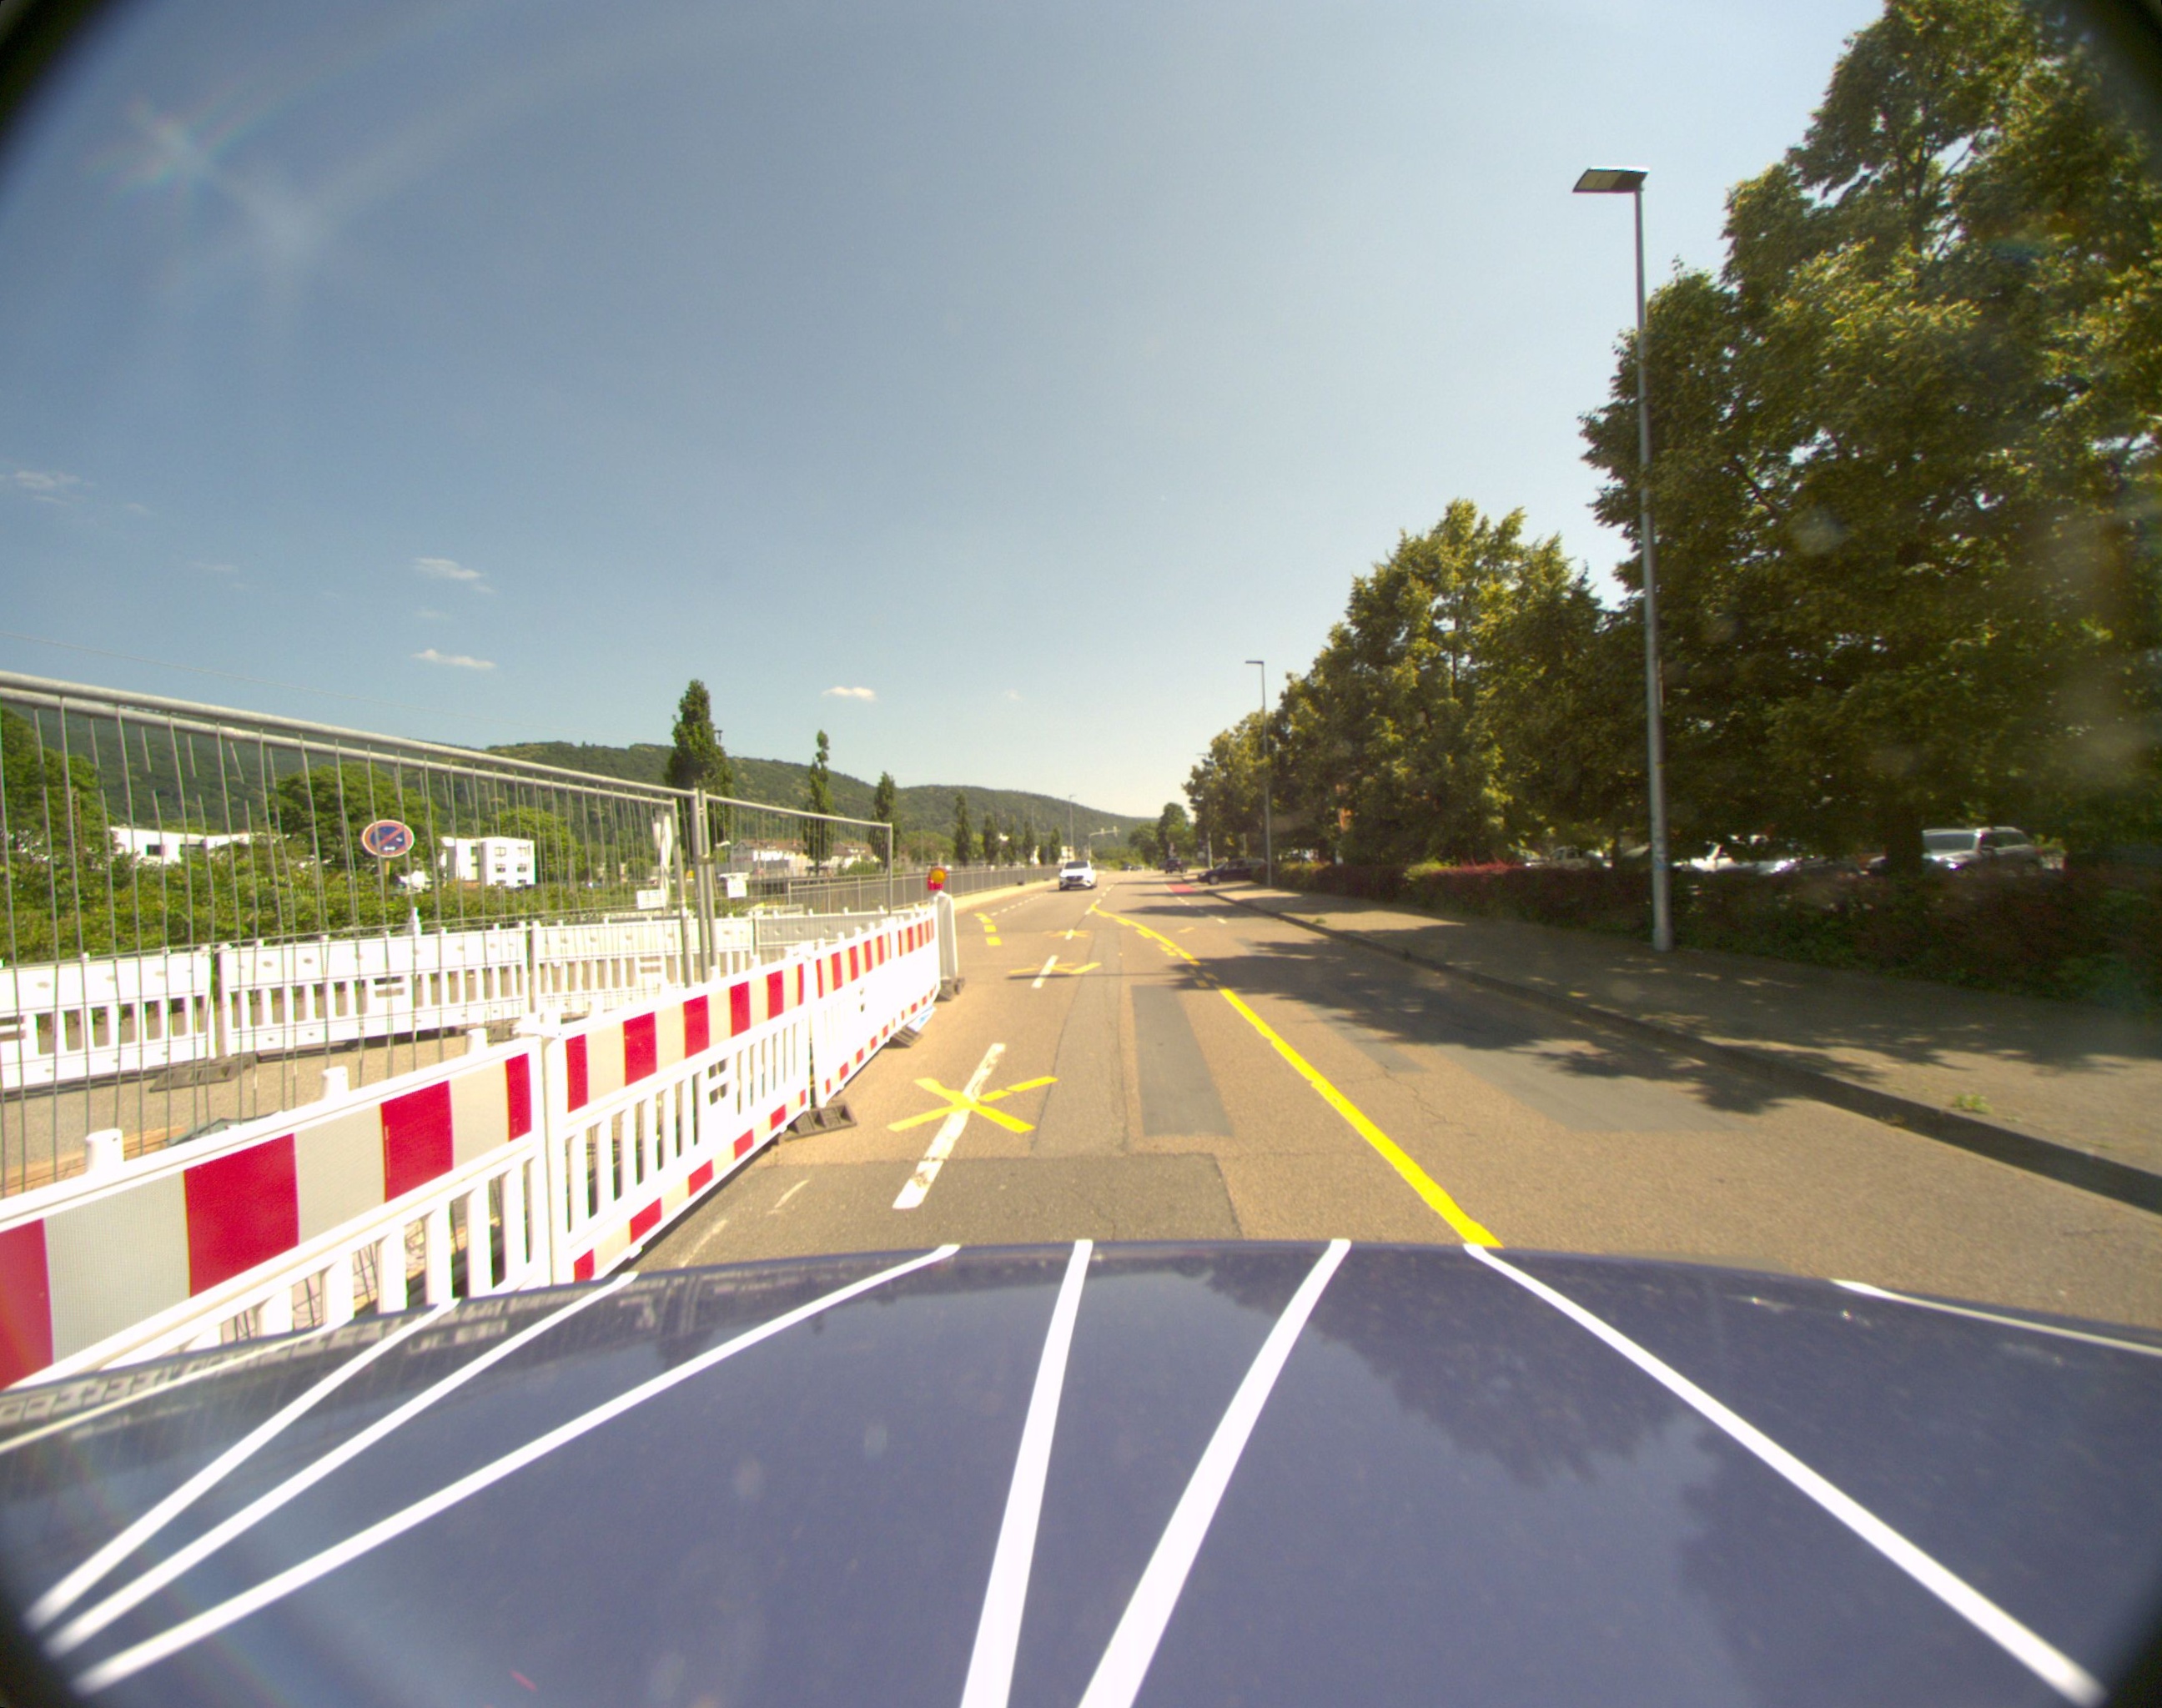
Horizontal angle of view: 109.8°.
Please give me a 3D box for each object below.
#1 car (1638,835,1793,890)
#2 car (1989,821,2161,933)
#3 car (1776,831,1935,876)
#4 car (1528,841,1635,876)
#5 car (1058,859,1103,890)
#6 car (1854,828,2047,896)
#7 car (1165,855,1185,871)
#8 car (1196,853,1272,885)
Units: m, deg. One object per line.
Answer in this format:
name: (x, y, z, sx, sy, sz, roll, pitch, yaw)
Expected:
car: (21.555, 0.269, 25.845, 4.314, 1.676, 1.860, -2, 0, -15)
car: (17.107, 0.336, 11.350, 1.861, 1.676, 4.367, 0, 0, -1)
car: (32.741, -0.011, 32.308, 1.863, 1.676, 4.363, -4, 0, -12)
car: (24.424, 0.219, 37.240, 1.922, 1.543, 4.137, -2, 0, -14)
car: (0.039, 1.137, 44.466, 1.997, 1.635, 5.034, -2, 0, 7)
car: (24.396, 0.198, 21.346, 4.369, 1.676, 1.860, -2, 0, -16)
car: (10.173, 0.937, 82.632, 1.997, 1.635, 4.530, -1, 0, 6)
car: (8.703, 0.838, 43.427, 3.995, 1.455, 1.881, -4, 0, 6)
